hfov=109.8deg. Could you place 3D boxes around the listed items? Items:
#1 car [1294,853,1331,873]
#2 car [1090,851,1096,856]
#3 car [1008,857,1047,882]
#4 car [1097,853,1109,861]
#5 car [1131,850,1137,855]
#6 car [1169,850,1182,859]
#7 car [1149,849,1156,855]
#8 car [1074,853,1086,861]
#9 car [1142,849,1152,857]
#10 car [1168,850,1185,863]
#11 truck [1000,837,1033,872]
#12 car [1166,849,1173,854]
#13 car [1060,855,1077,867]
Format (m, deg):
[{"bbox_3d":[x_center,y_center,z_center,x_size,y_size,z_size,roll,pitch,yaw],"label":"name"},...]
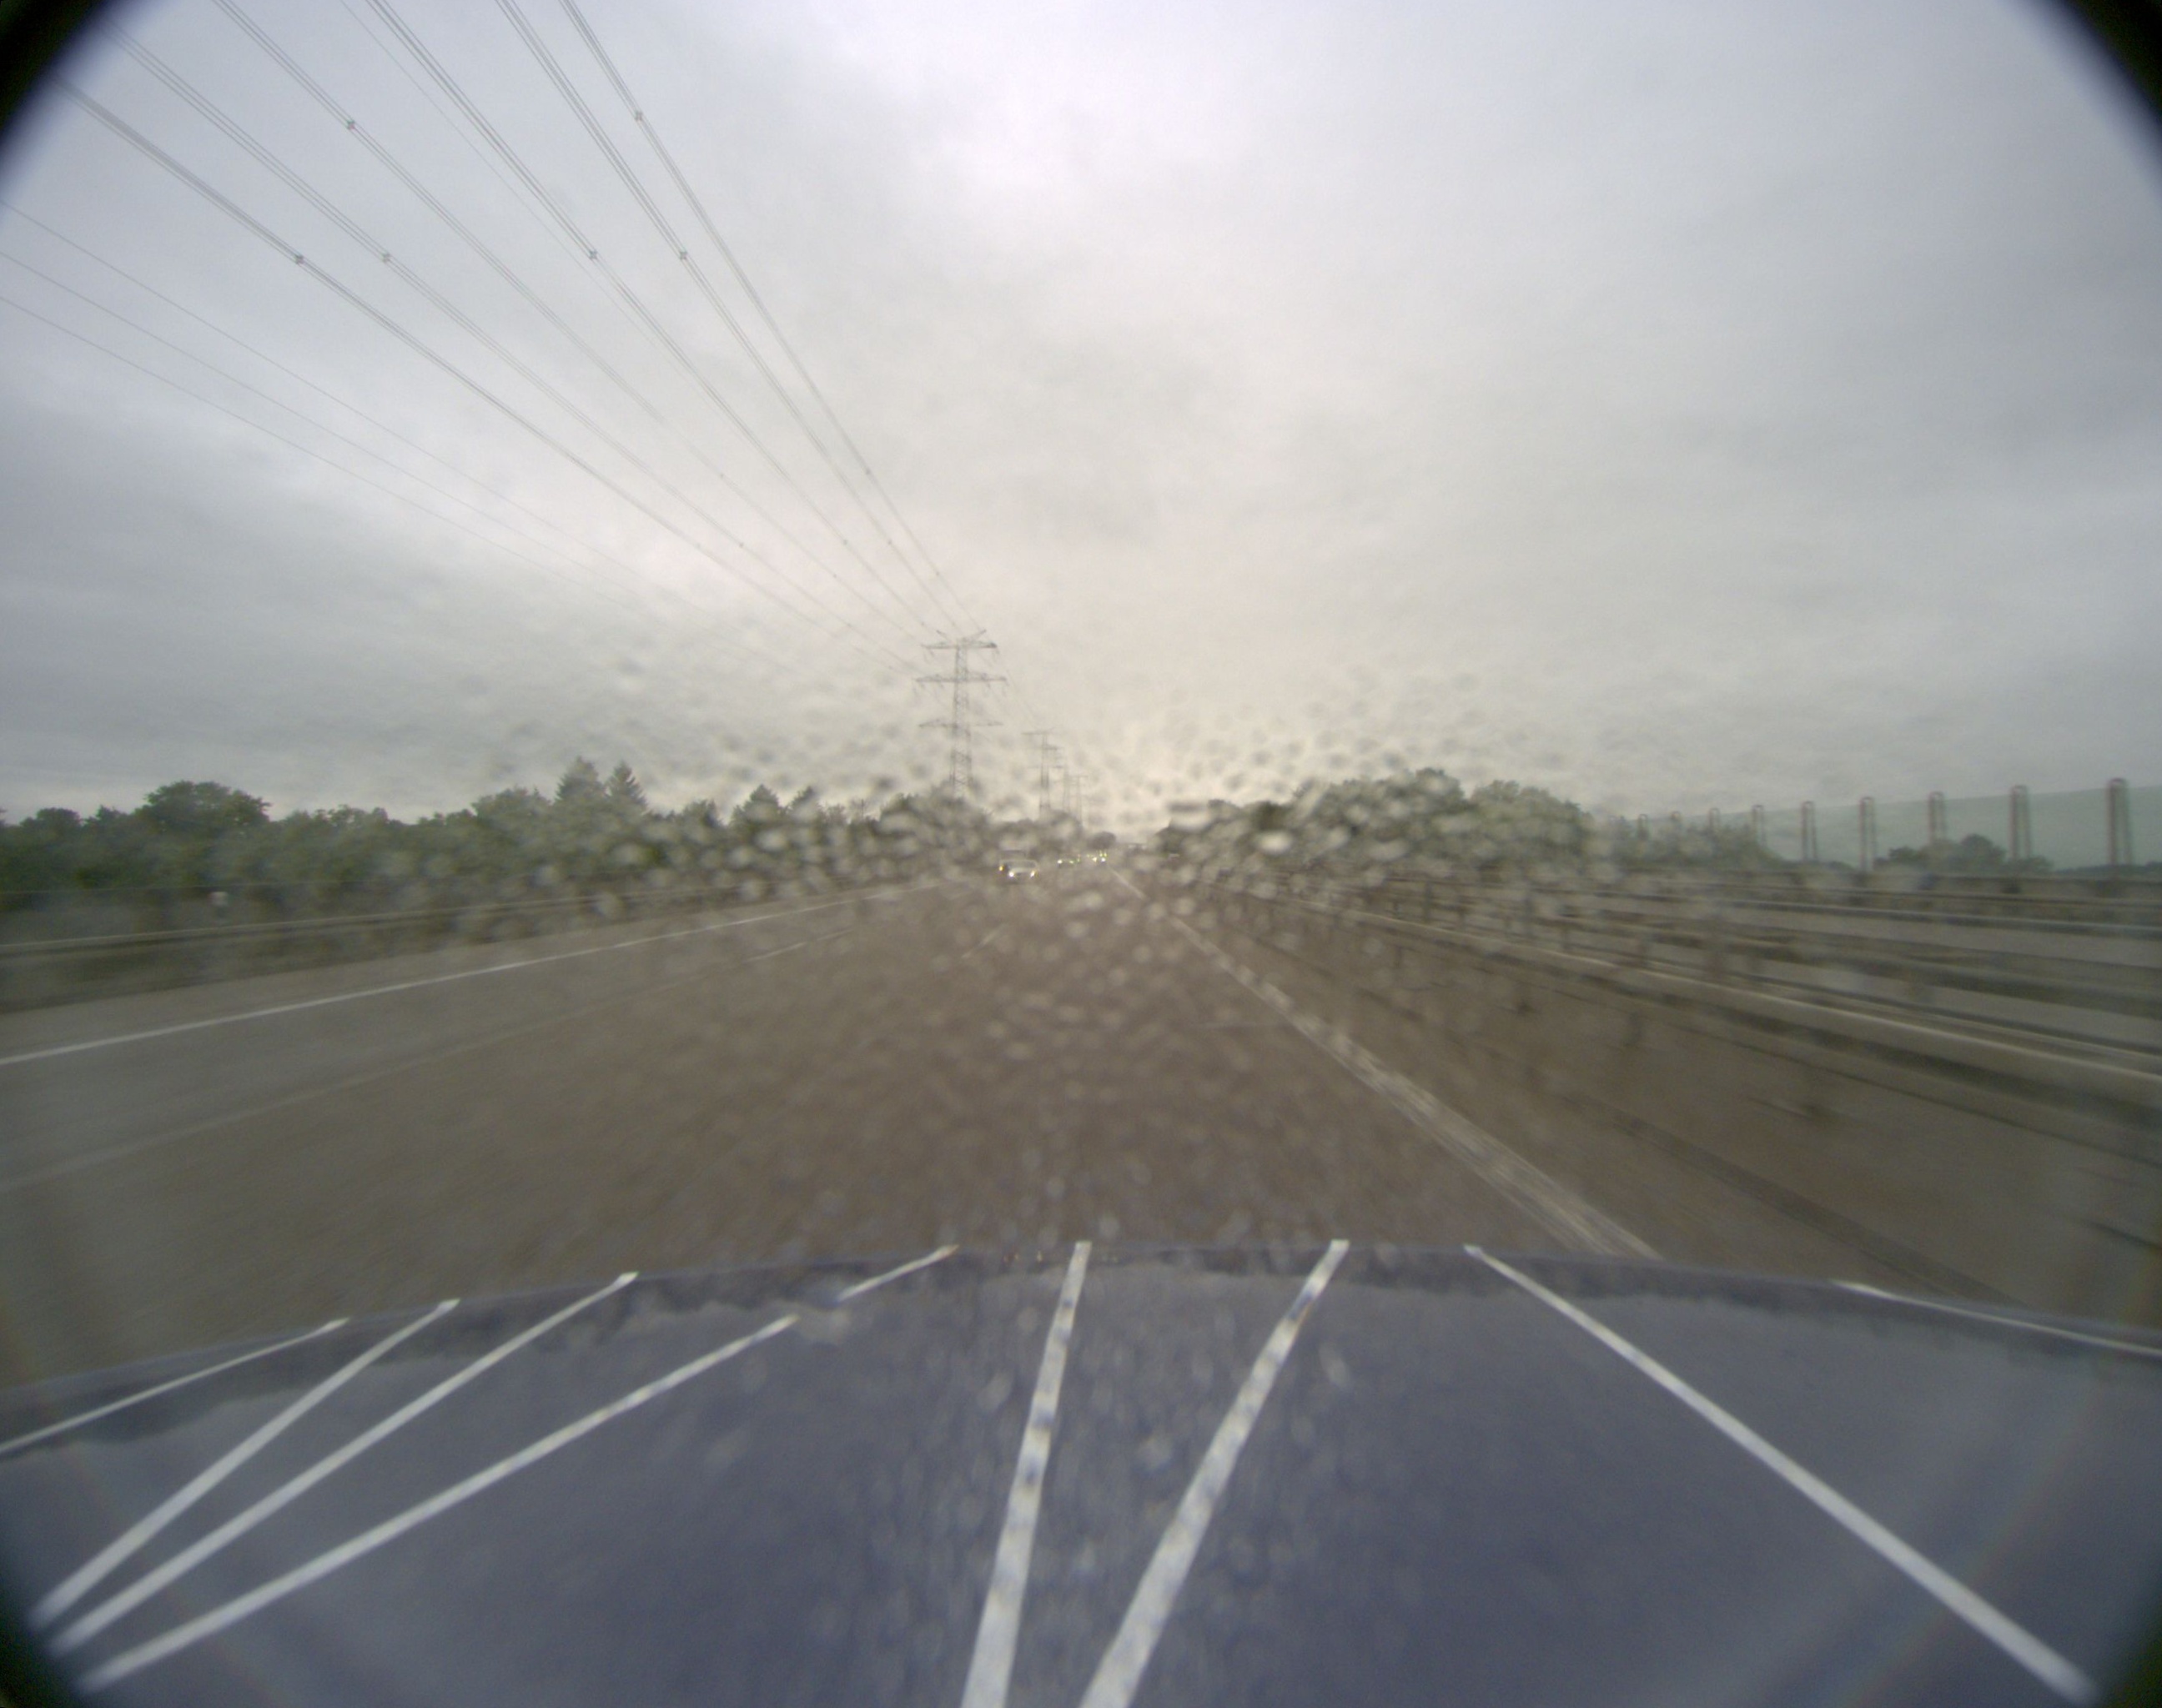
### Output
[{"bbox_3d":[17.942,0.696,58.993,1.688,1.488,3.860,-1,0,1],"label":"car"},{"bbox_3d":[3.690,-0.149,235.823,1.998,1.418,4.000,-2,0,1],"label":"car"},{"bbox_3d":[-3.249,0.925,46.528,1.998,1.418,4.000,-2,0,1],"label":"car"},{"bbox_3d":[3.971,0.567,138.486,1.998,1.418,4.000,-2,0,1],"label":"car"},{"bbox_3d":[17.075,-0.497,245.729,1.688,1.528,3.860,-1,0,1],"label":"car"},{"bbox_3d":[16.608,0.118,133.740,1.688,1.528,3.860,-1,0,1],"label":"car"},{"bbox_3d":[19.473,-0.546,207.575,1.688,1.528,3.860,-1,0,1],"label":"car"},{"bbox_3d":[-0.195,0.579,137.232,1.998,1.418,4.000,-2,0,1],"label":"car"},{"bbox_3d":[13.503,-0.236,155.615,1.688,1.528,3.860,-1,0,1],"label":"car"},{"bbox_3d":[11.712,0.332,93.303,1.688,1.528,3.860,-1,0,1],"label":"car"},{"bbox_3d":[-6.503,0.054,77.466,2.649,3.324,6.931,-2,0,1],"label":"truck"},{"bbox_3d":[29.960,-0.879,257.462,1.688,1.528,3.860,-1,0,1],"label":"car"},{"bbox_3d":[-1.618,0.885,100.315,1.998,1.418,4.000,-2,0,1],"label":"car"}]
